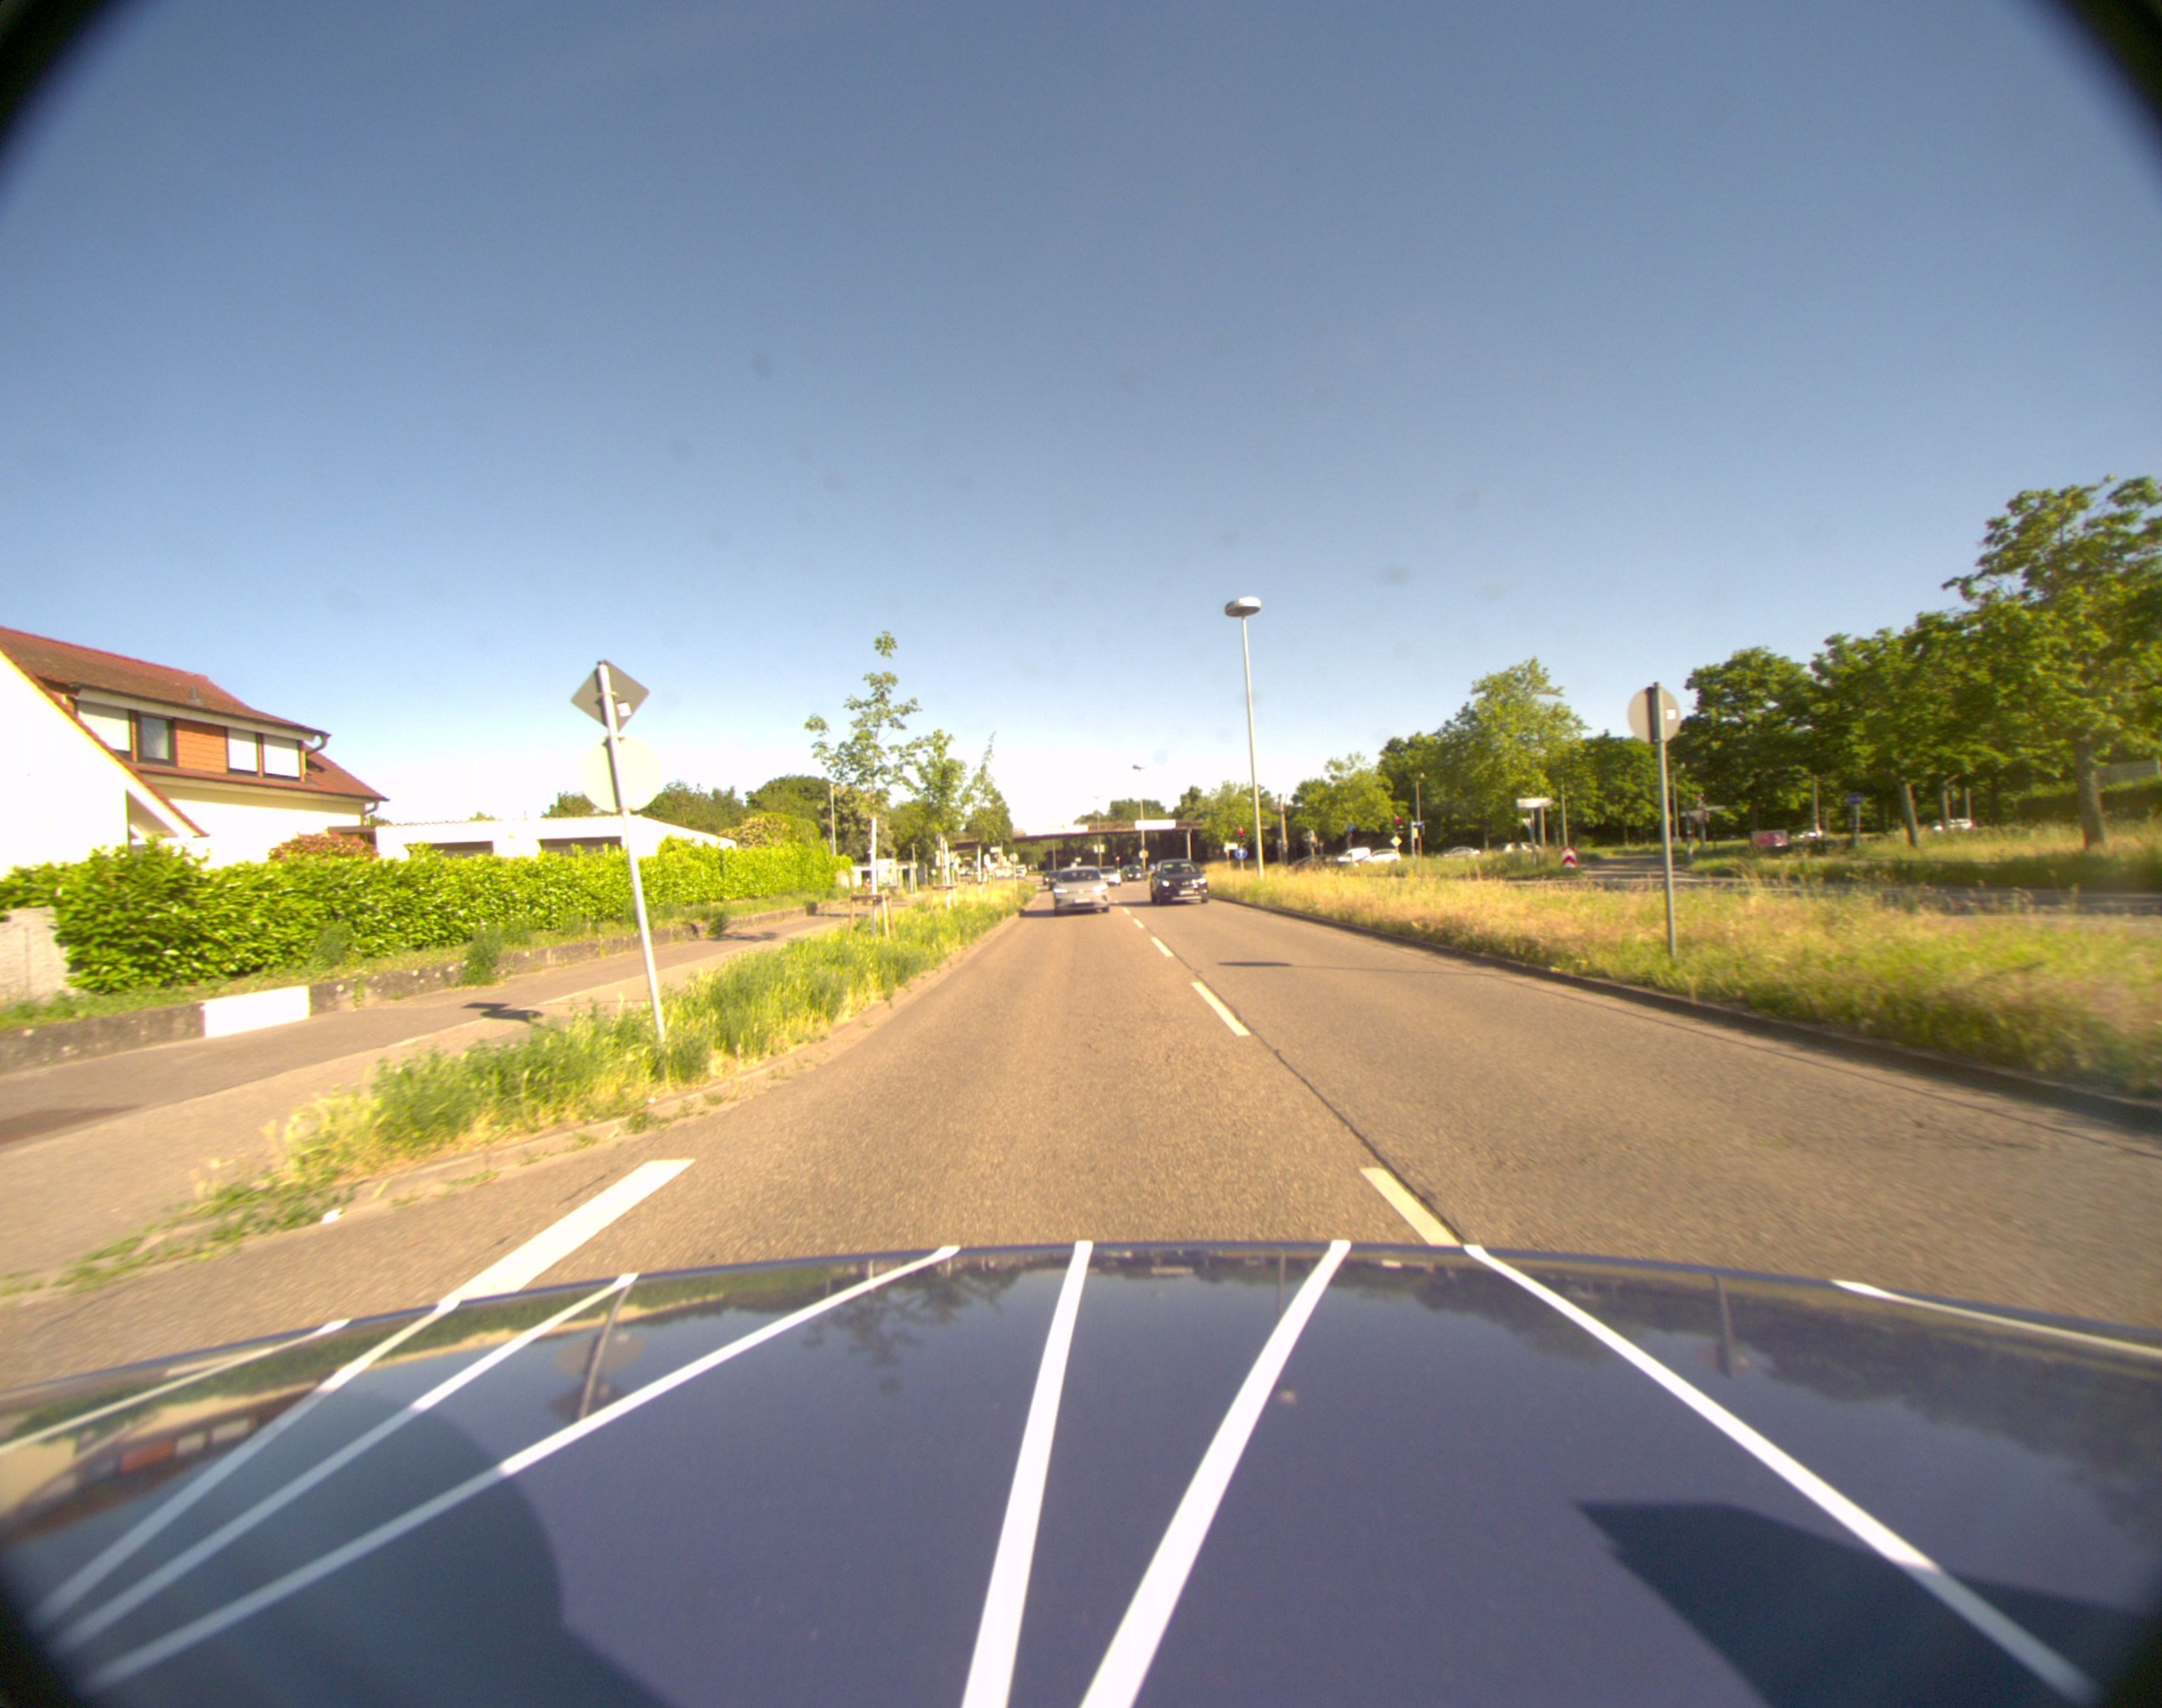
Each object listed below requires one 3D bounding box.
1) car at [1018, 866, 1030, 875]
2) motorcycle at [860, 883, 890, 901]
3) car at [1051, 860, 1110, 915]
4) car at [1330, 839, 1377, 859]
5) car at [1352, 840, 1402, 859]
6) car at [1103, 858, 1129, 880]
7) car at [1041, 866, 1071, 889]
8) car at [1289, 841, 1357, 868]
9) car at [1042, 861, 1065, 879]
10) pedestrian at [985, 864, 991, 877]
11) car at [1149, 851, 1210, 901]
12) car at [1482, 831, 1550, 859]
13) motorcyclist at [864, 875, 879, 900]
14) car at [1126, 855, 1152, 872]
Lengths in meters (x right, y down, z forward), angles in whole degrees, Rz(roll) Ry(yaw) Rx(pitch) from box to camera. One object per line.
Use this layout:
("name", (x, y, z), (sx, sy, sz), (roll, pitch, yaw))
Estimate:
("car", (-10.417, 3.003, 137.962), (1.874, 1.611, 3.833), (-2, 0, -8))
("motorcycle", (-13.263, 2.448, 48.980), (1.760, 1.065, 0.451), (-2, 0, 0))
("car", (0.054, 1.117, 26.870), (1.801, 1.664, 4.240), (-5, -1, 2))
("car", (27.368, -0.476, 76.299), (3.999, 1.744, 1.776), (-4, 0, -8))
("car", (28.405, -0.394, 72.960), (3.925, 1.551, 1.851), (-4, 0, -8))
("car", (2.758, 1.159, 61.184), (1.830, 1.604, 4.092), (-3, 0, 0))
("car", (-1.990, 1.842, 59.756), (1.874, 1.611, 3.834), (-4, 0, -8))
("car", (17.354, 0.048, 54.705), (4.521, 1.477, 1.782), (-5, -2, 16))
("car", (-2.783, 1.599, 76.432), (1.874, 1.611, 3.834), (-4, 0, -8))
("pedestrian", (-11.447, 2.043, 93.522), (0.589, 1.652, 0.716), (-2, 0, -9))
("car", (3.608, 0.774, 28.449), (1.714, 1.653, 3.856), (-3, 0, 0))
("car", (31.561, -0.658, 55.181), (4.390, 1.561, 1.845), (-5, -1, -22))
("motorcyclist", (-13.494, 2.168, 48.960), (0.695, 1.548, 0.700), (-2, 0, 0))
("car", (5.461, 0.865, 70.787), (1.793, 1.487, 4.005), (-2, 0, 12))
